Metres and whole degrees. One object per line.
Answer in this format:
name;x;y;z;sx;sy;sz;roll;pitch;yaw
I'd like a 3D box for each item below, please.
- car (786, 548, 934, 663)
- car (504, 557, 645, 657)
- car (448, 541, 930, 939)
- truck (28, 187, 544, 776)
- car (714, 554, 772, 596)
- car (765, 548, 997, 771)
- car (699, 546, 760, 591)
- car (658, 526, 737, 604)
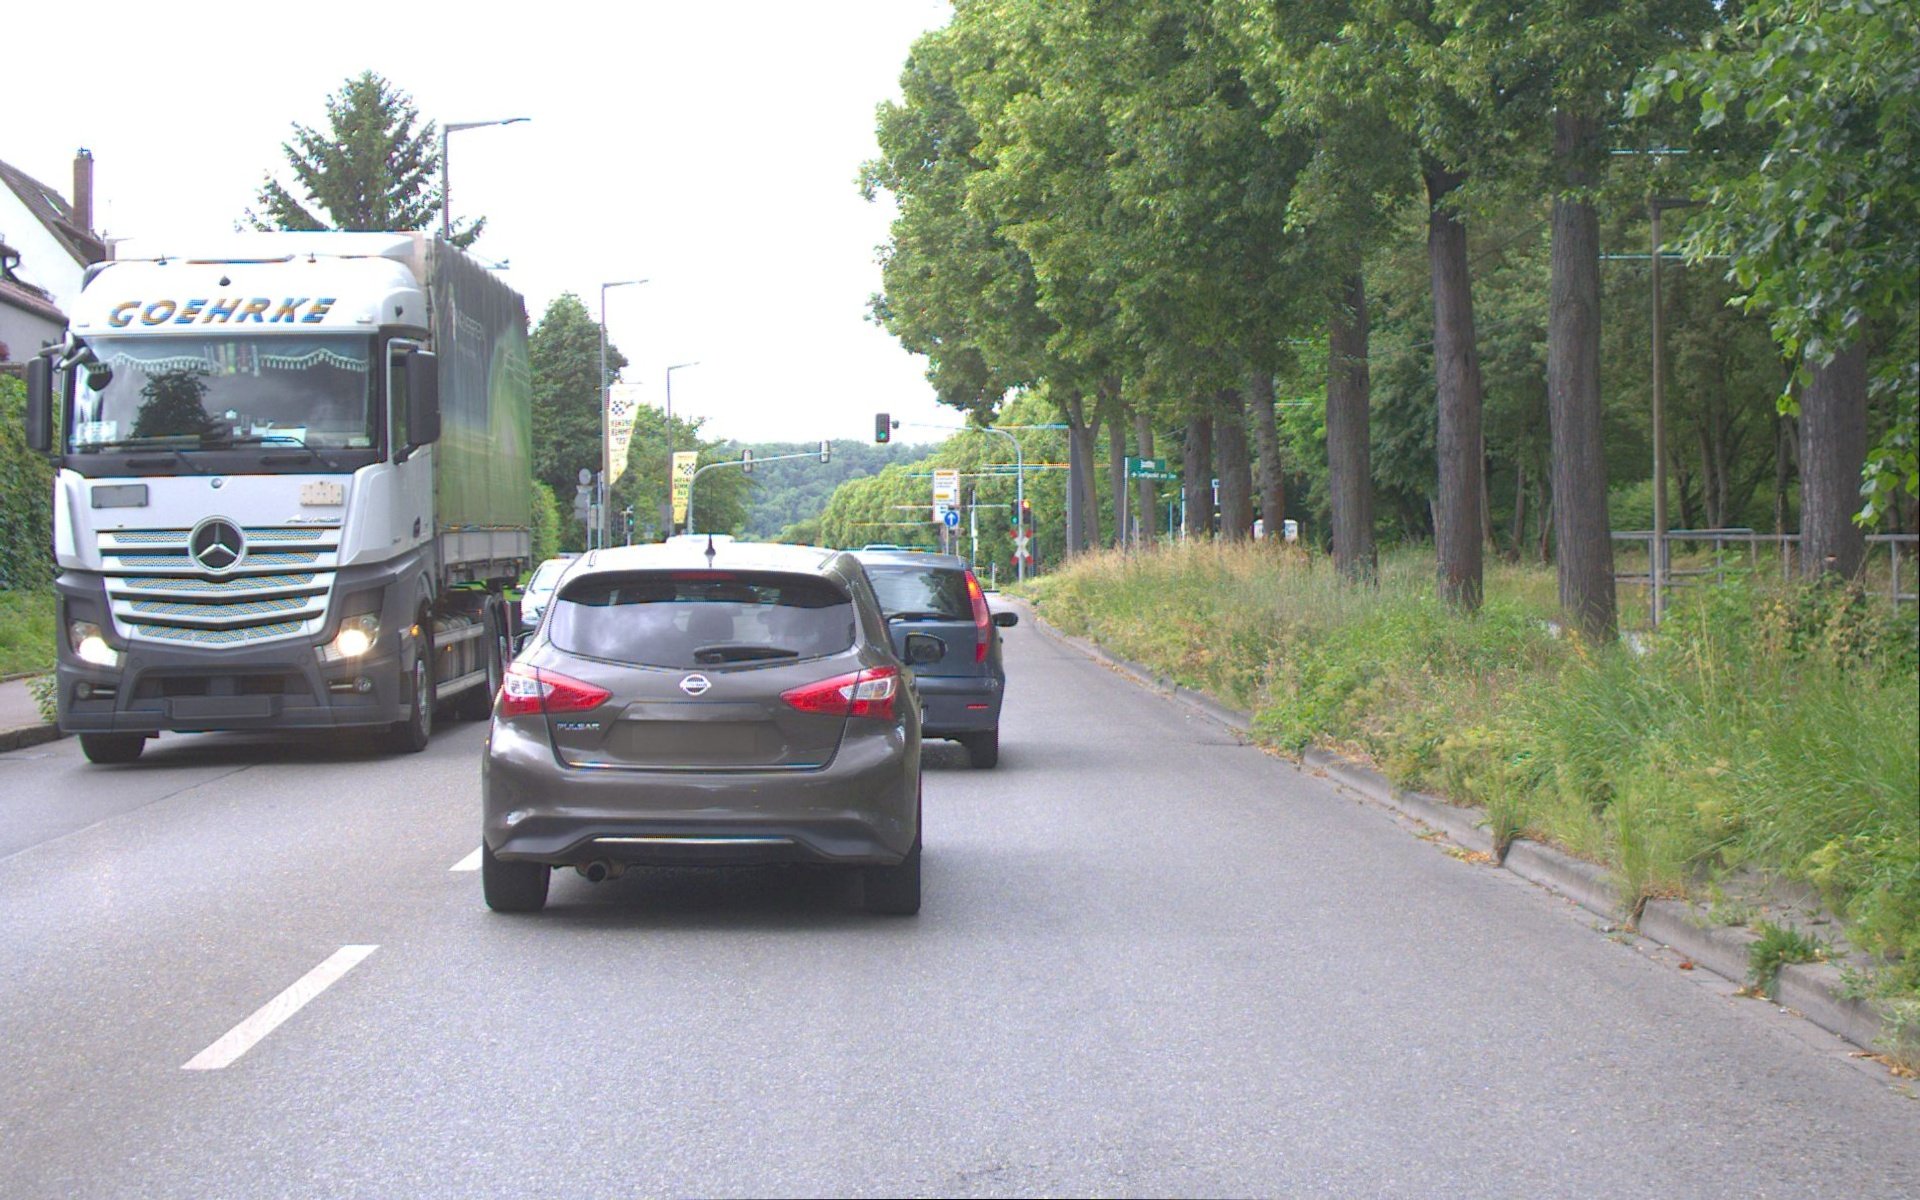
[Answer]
car;-1.257;0.036;43.934;1.792;1.392;4.000;0;1;-1
car;-5.702;0.067;51.274;1.732;1.370;4.240;-1;1;-2
car;-1.073;0.496;15.368;1.835;1.514;4.483;0;1;-1
truck;-5.354;-0.871;29.371;2.549;4.030;10.621;-2;0;-2
car;-7.430;-0.872;118.177;1.886;1.378;4.491;-1;1;-3
car;-0.562;0.367;24.776;1.538;1.473;3.764;0;1;-1
car;-7.069;-0.983;105.772;1.650;1.343;4.478;-1;1;-1
car;-6.767;-0.928;88.861;1.906;1.925;4.912;-1;1;-3
